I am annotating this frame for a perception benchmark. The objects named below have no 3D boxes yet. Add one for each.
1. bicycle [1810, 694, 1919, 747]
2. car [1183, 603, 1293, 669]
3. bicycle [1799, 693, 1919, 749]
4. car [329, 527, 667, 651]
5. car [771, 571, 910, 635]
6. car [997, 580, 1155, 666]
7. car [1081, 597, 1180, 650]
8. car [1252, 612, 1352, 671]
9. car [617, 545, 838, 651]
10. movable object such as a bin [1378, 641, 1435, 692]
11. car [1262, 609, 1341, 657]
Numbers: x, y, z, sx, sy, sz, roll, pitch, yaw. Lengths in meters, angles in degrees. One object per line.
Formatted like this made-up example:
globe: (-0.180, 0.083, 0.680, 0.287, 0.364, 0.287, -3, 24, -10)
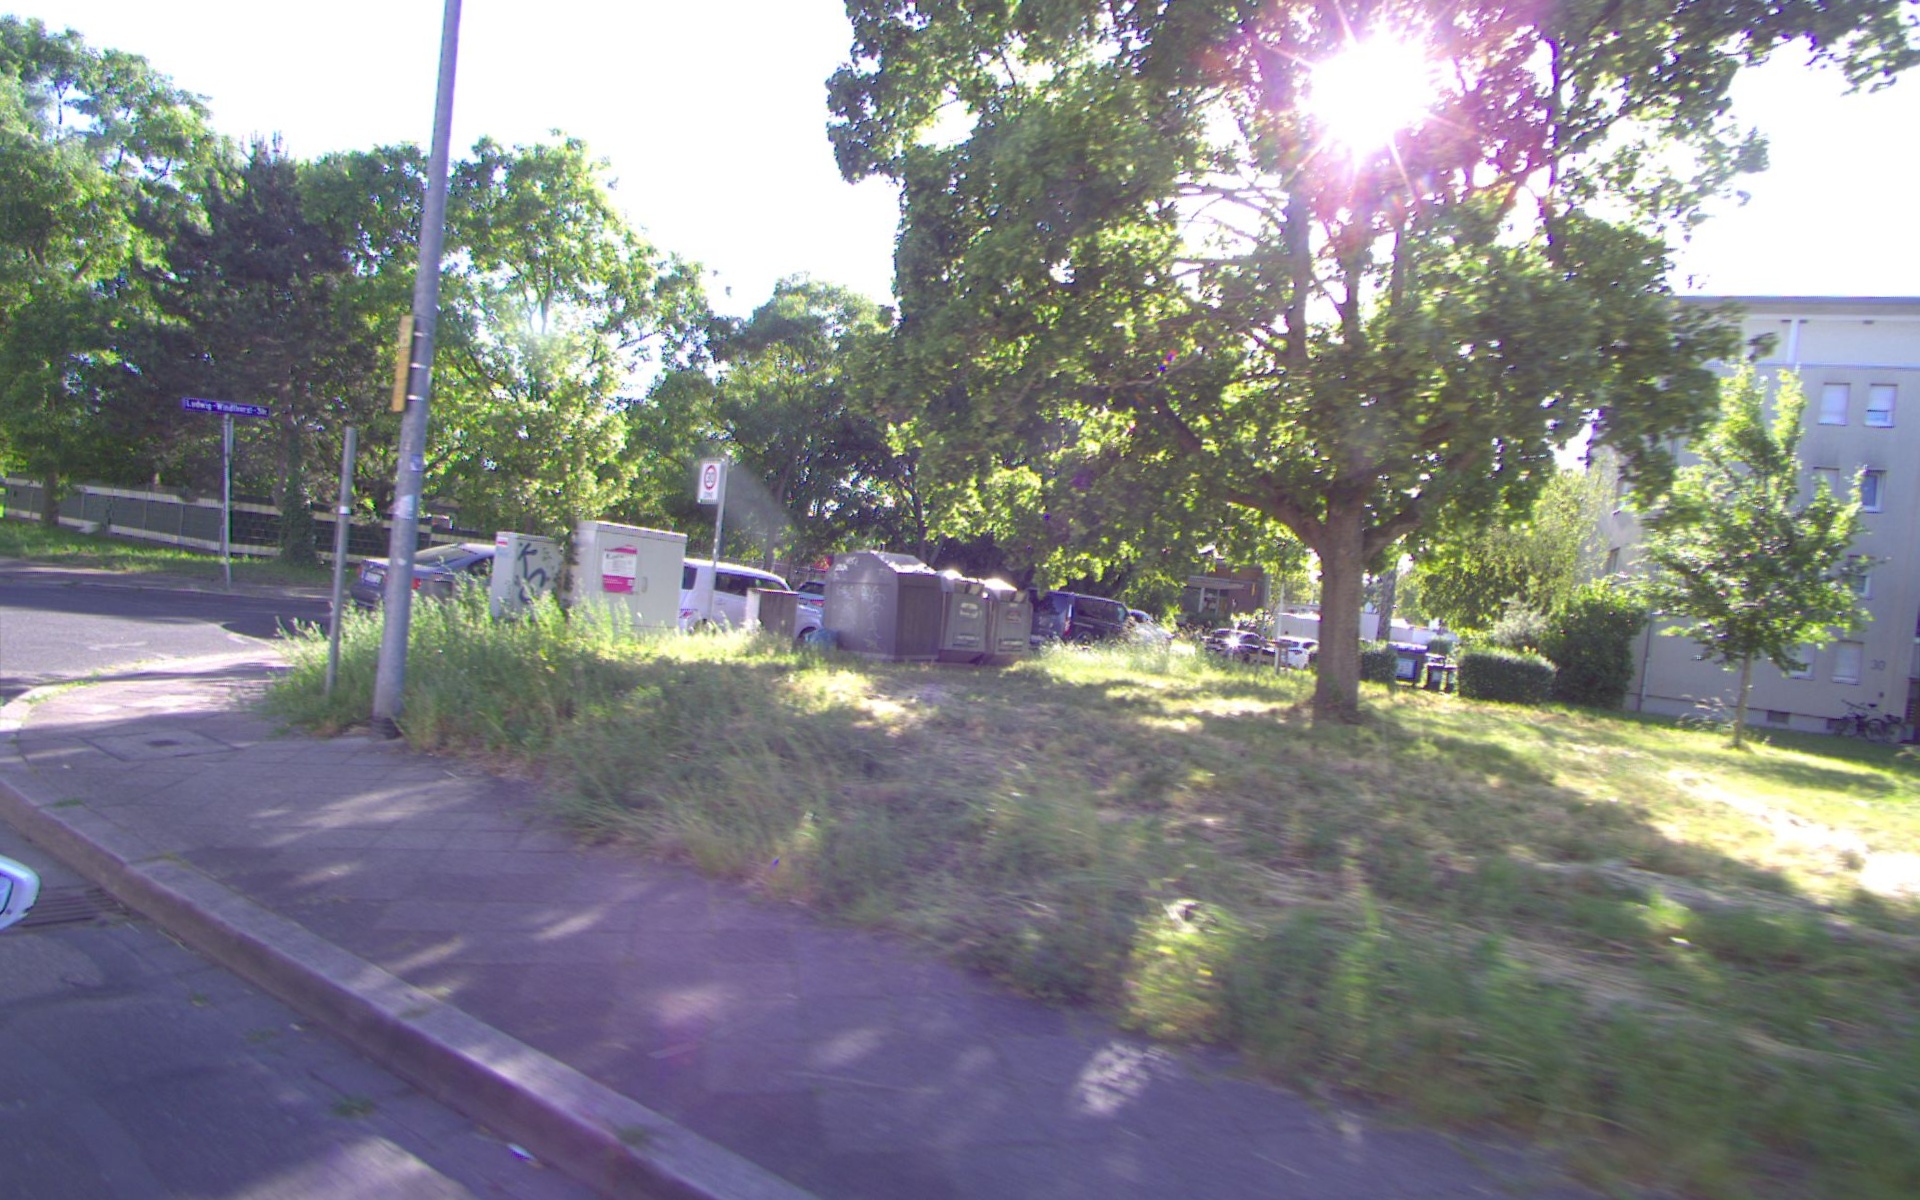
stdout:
bicycle: (28.072, 3.727, 31.039, 2.645, 1.220, 0.940, 7, 2, 6)
car: (10.483, 1.381, 37.756, 2.134, 2.038, 4.498, 8, 1, 40)
bicycle: (27.071, 3.627, 30.256, 2.645, 1.220, 0.940, 7, 2, 6)
car: (-6.991, -0.096, 15.690, 1.719, 1.354, 4.425, 9, 1, 36)
car: (-3.422, 0.121, 29.396, 1.759, 1.415, 3.865, 9, 2, 35)
car: (3.427, 0.709, 29.088, 2.241, 2.038, 4.498, 8, 1, 40)
car: (7.210, 1.008, 42.323, 1.971, 1.830, 4.447, 8, 1, 40)
car: (14.411, 1.756, 42.279, 2.137, 2.038, 4.493, 8, 1, 43)
car: (-4.351, 0.007, 19.210, 1.801, 1.598, 3.680, 8, 1, 39)
movable object such as a bin: (15.119, 2.231, 34.105, 1.508, 1.528, 1.391, 7, 1, 20)
car: (19.270, 1.898, 56.590, 2.236, 2.291, 5.050, 7, 1, 42)
